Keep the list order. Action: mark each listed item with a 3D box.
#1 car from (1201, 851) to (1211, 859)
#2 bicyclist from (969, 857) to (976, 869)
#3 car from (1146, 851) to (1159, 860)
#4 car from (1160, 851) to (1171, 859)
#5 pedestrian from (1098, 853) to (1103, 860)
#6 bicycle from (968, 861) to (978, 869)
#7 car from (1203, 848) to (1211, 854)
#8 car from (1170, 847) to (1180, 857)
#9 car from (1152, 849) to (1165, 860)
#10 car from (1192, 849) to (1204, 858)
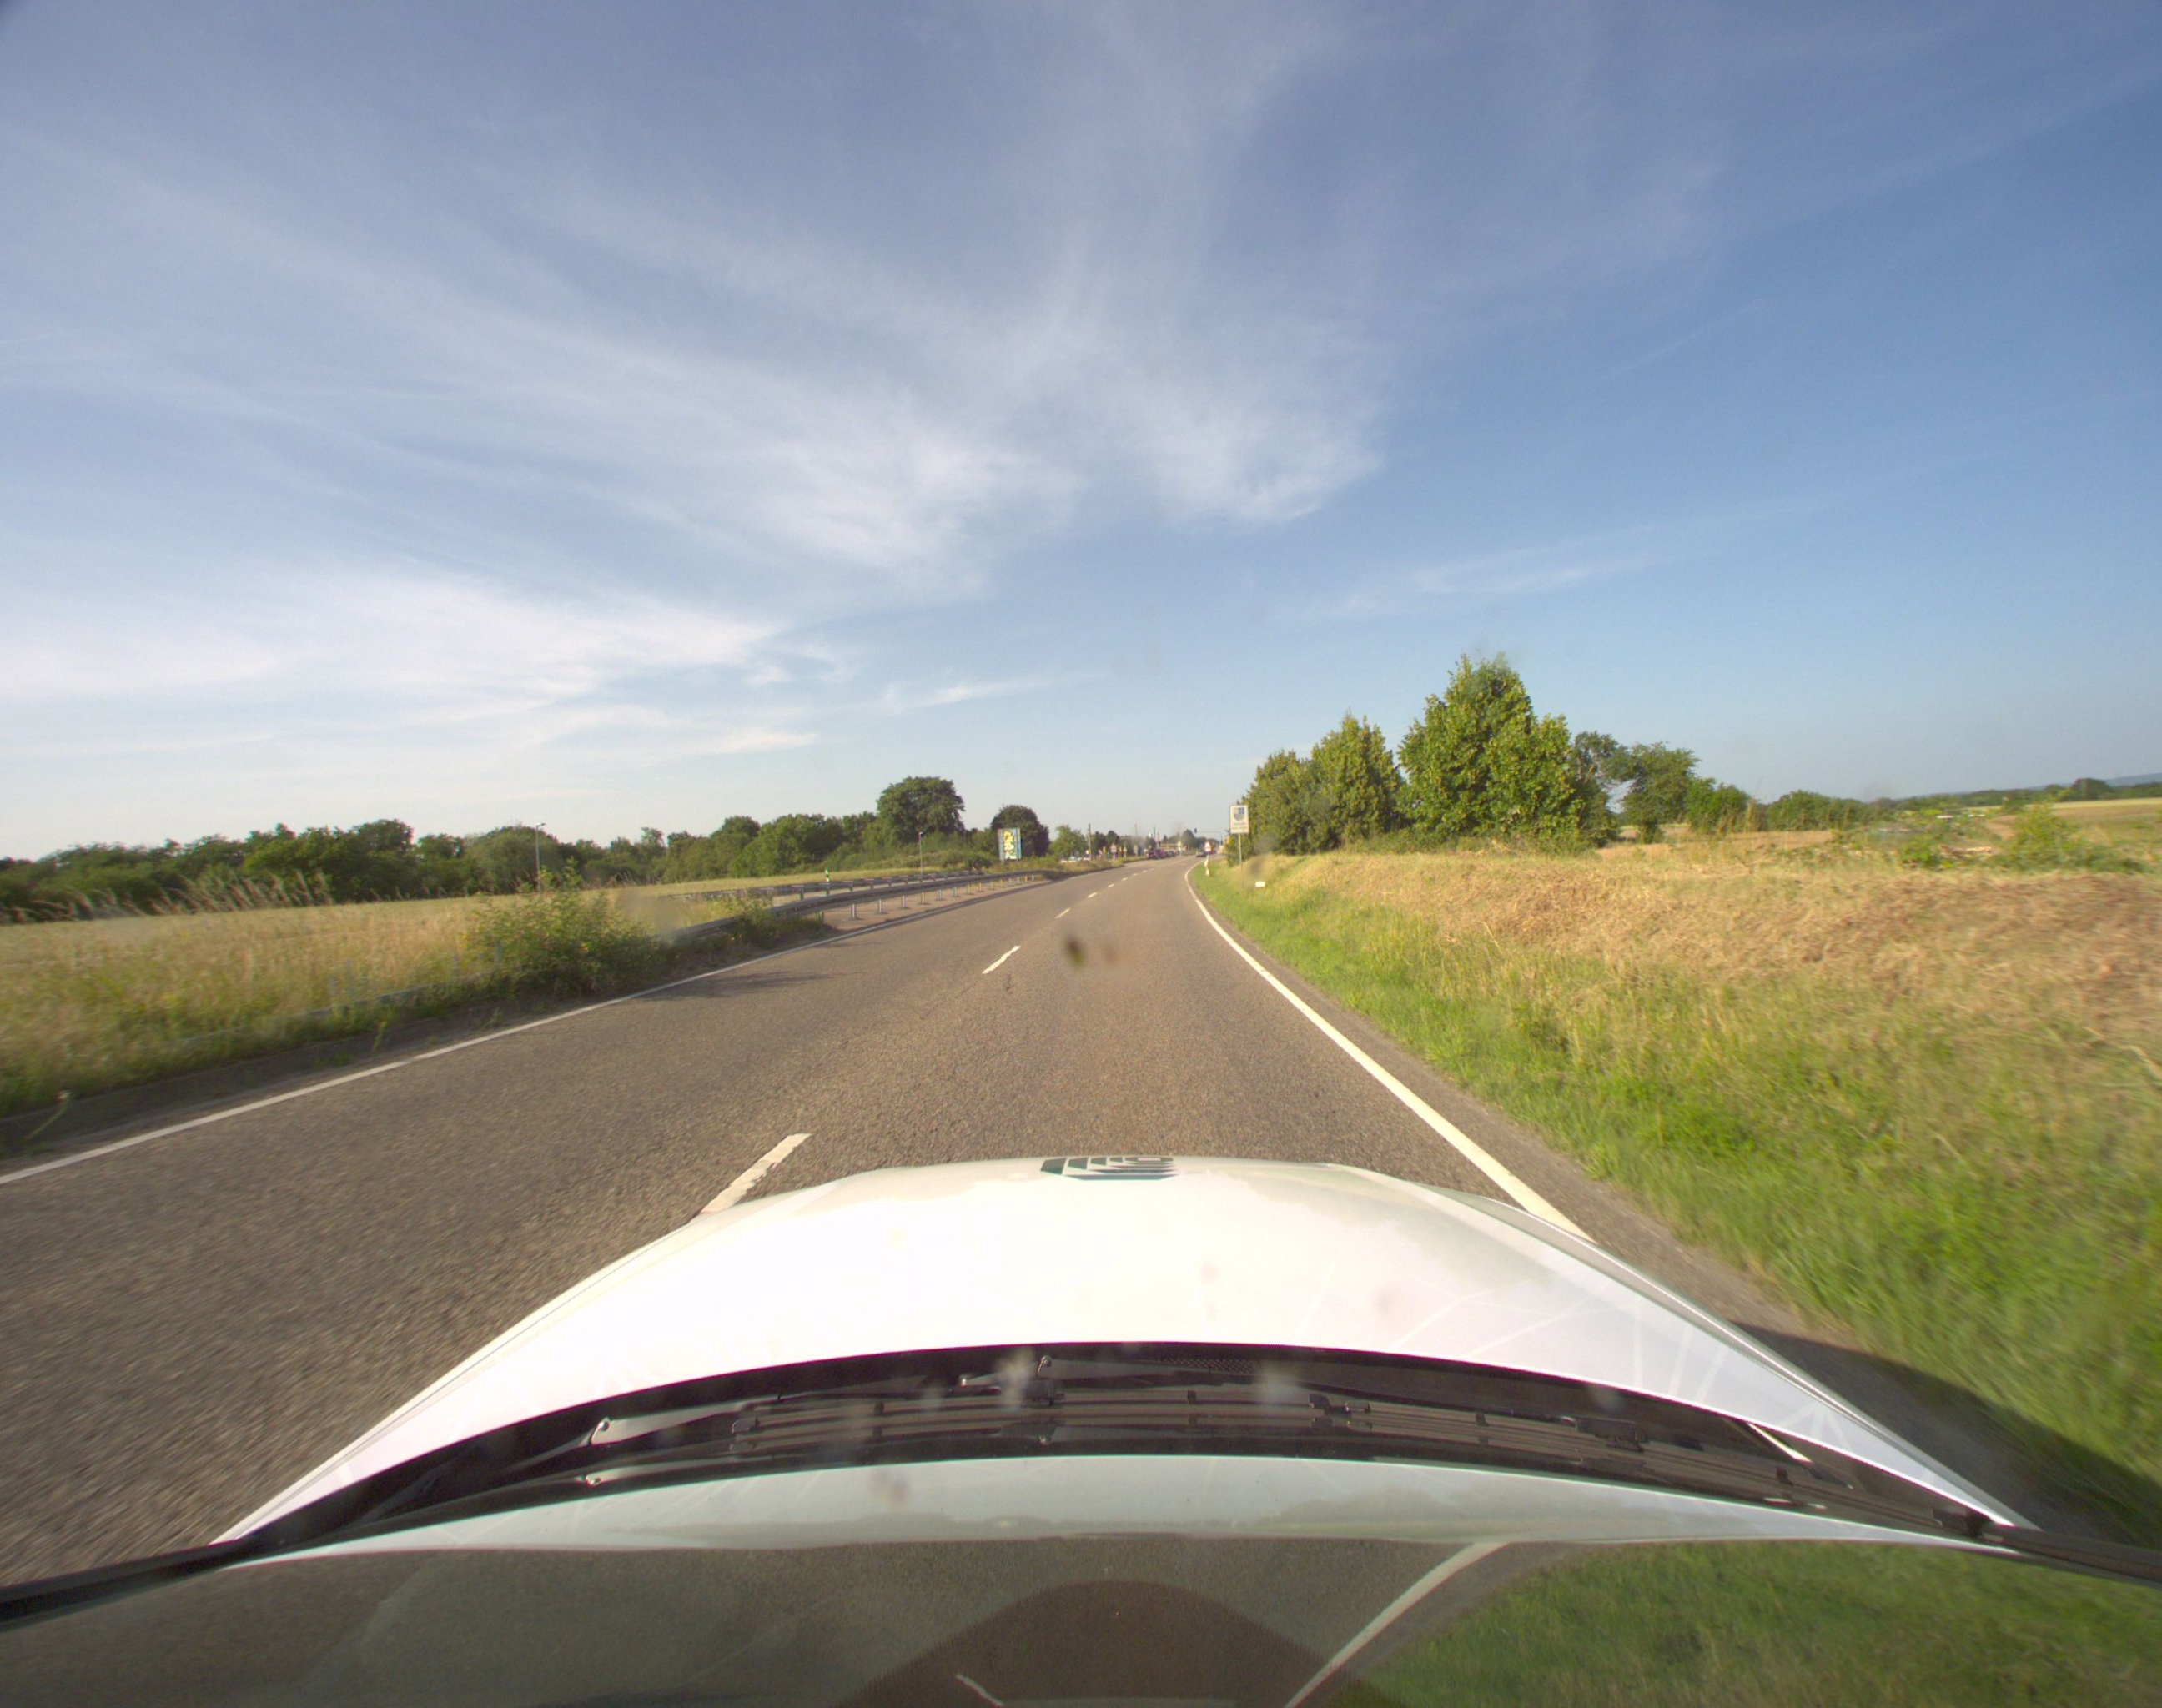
[{"bbox_3d":[27.363,0.211,178.218,1.981,1.552,4.012,-2,0,11],"label":"car"},{"bbox_3d":[-12.806,1.087,96.335,0.464,1.389,1.050,-3,0,10],"label":"bicyclist"},{"bbox_3d":[12.434,0.261,141.817,1.721,1.456,4.534,-2,0,11],"label":"car"},{"bbox_3d":[17.222,0.119,165.755,1.758,1.471,4.028,-2,1,11],"label":"car"},{"bbox_3d":[4.545,0.539,188.331,0.911,1.706,1.069,-1,-1,4],"label":"pedestrian"},{"bbox_3d":[-12.773,1.330,96.348,0.526,0.878,1.709,-3,0,10],"label":"bicycle"},{"bbox_3d":[35.142,-0.911,227.053,1.981,1.596,4.012,-3,0,10],"label":"car"},{"bbox_3d":[21.183,-0.533,183.479,1.981,2.014,4.850,-3,-2,11],"label":"car"},{"bbox_3d":[14.147,0.070,148.496,1.721,1.855,4.534,-2,0,11],"label":"car"},{"bbox_3d":[22.327,-0.067,154.913,1.981,1.552,4.012,-2,0,11],"label":"car"}]
